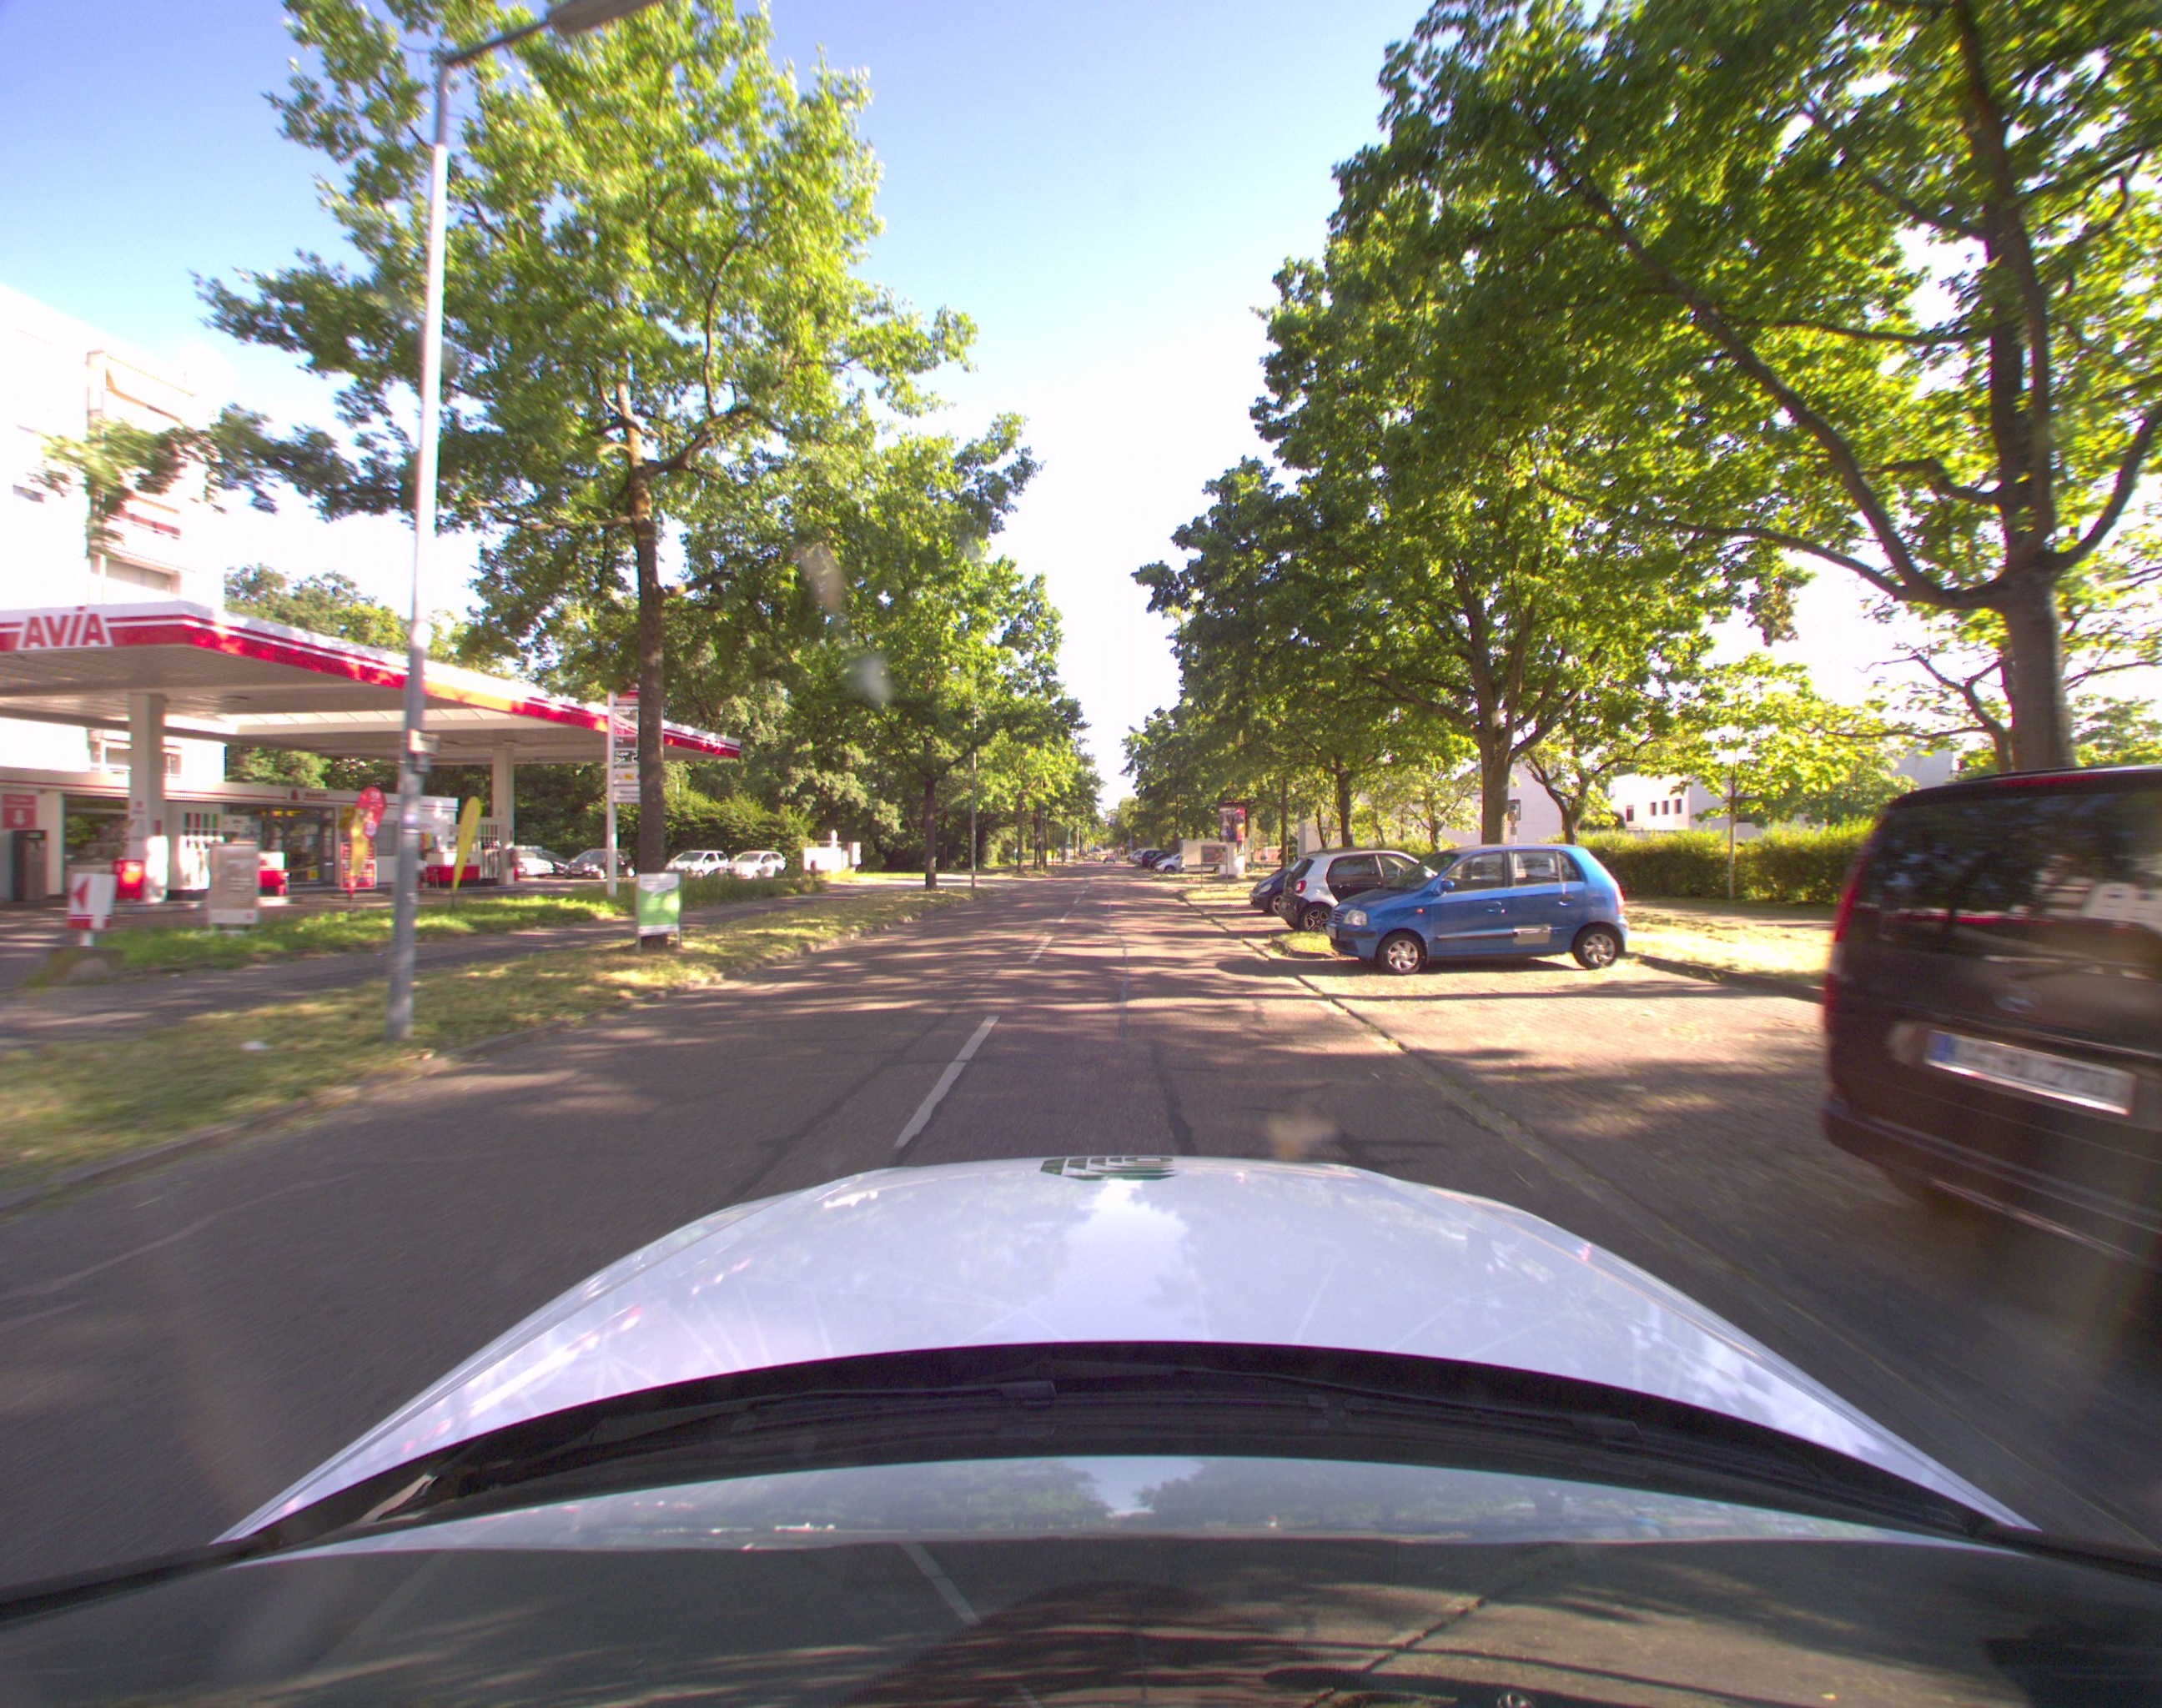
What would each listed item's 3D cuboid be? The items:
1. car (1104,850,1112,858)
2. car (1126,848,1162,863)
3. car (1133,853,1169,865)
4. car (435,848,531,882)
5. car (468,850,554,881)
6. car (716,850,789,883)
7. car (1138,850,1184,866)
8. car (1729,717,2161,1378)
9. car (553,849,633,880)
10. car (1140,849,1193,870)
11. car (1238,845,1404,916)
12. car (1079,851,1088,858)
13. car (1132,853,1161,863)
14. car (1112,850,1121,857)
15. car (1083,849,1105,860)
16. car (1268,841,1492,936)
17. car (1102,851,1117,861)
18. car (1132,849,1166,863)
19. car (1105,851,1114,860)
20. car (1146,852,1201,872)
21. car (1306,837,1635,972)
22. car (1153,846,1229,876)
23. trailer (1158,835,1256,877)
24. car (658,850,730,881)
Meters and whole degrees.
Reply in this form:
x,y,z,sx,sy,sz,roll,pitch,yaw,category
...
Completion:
x,y,z,sx,sy,sz,roll,pitch,yaw,category
7.453,-0.030,226.143,1.986,1.968,4.001,0,0,1,car
9.245,0.178,119.697,5.170,2.105,2.082,-1,0,0,car
8.741,0.564,101.779,4.429,1.390,1.912,-1,0,1,car
-26.377,0.469,35.947,3.175,1.400,1.589,2,0,9,car
-26.858,0.541,38.419,3.175,1.317,1.463,2,0,9,car
-15.455,0.564,38.469,1.537,1.422,3.496,2,0,10,car
8.477,0.439,86.578,4.652,1.580,1.918,-2,0,2,car
4.980,0.483,2.851,3.997,1.837,1.798,-2,0,-1,car
-22.807,0.475,38.153,1.414,1.367,3.214,2,0,10,car
7.533,0.489,72.301,4.513,1.801,1.937,-1,0,1,car
5.883,0.629,20.306,3.571,1.576,1.857,-2,0,1,car
0.599,0.019,202.820,1.986,1.716,4.001,0,0,1,car
8.950,0.551,111.922,3.970,1.433,1.902,0,0,3,car
8.488,-0.109,196.531,1.986,1.716,4.001,0,0,1,car
2.062,0.039,128.058,2.003,1.655,3.968,0,0,-24,car
5.480,0.611,15.315,3.568,1.576,1.788,-2,0,3,car
4.142,0.251,119.506,1.987,1.484,4.000,0,0,0,car
9.064,0.286,109.383,4.370,1.651,1.851,-2,0,-1,car
6.100,0.234,175.732,1.986,1.933,4.001,0,0,1,car
7.406,0.639,65.554,4.228,1.519,2.079,-1,0,3,car
4.939,0.618,10.713,3.506,1.532,1.666,-2,0,3,car
7.069,0.448,52.681,4.623,1.722,1.989,-2,0,2,car
7.645,0.121,49.933,5.749,2.317,1.688,-2,0,3,trailer
-18.216,0.517,38.439,1.414,1.367,3.214,2,0,10,car
